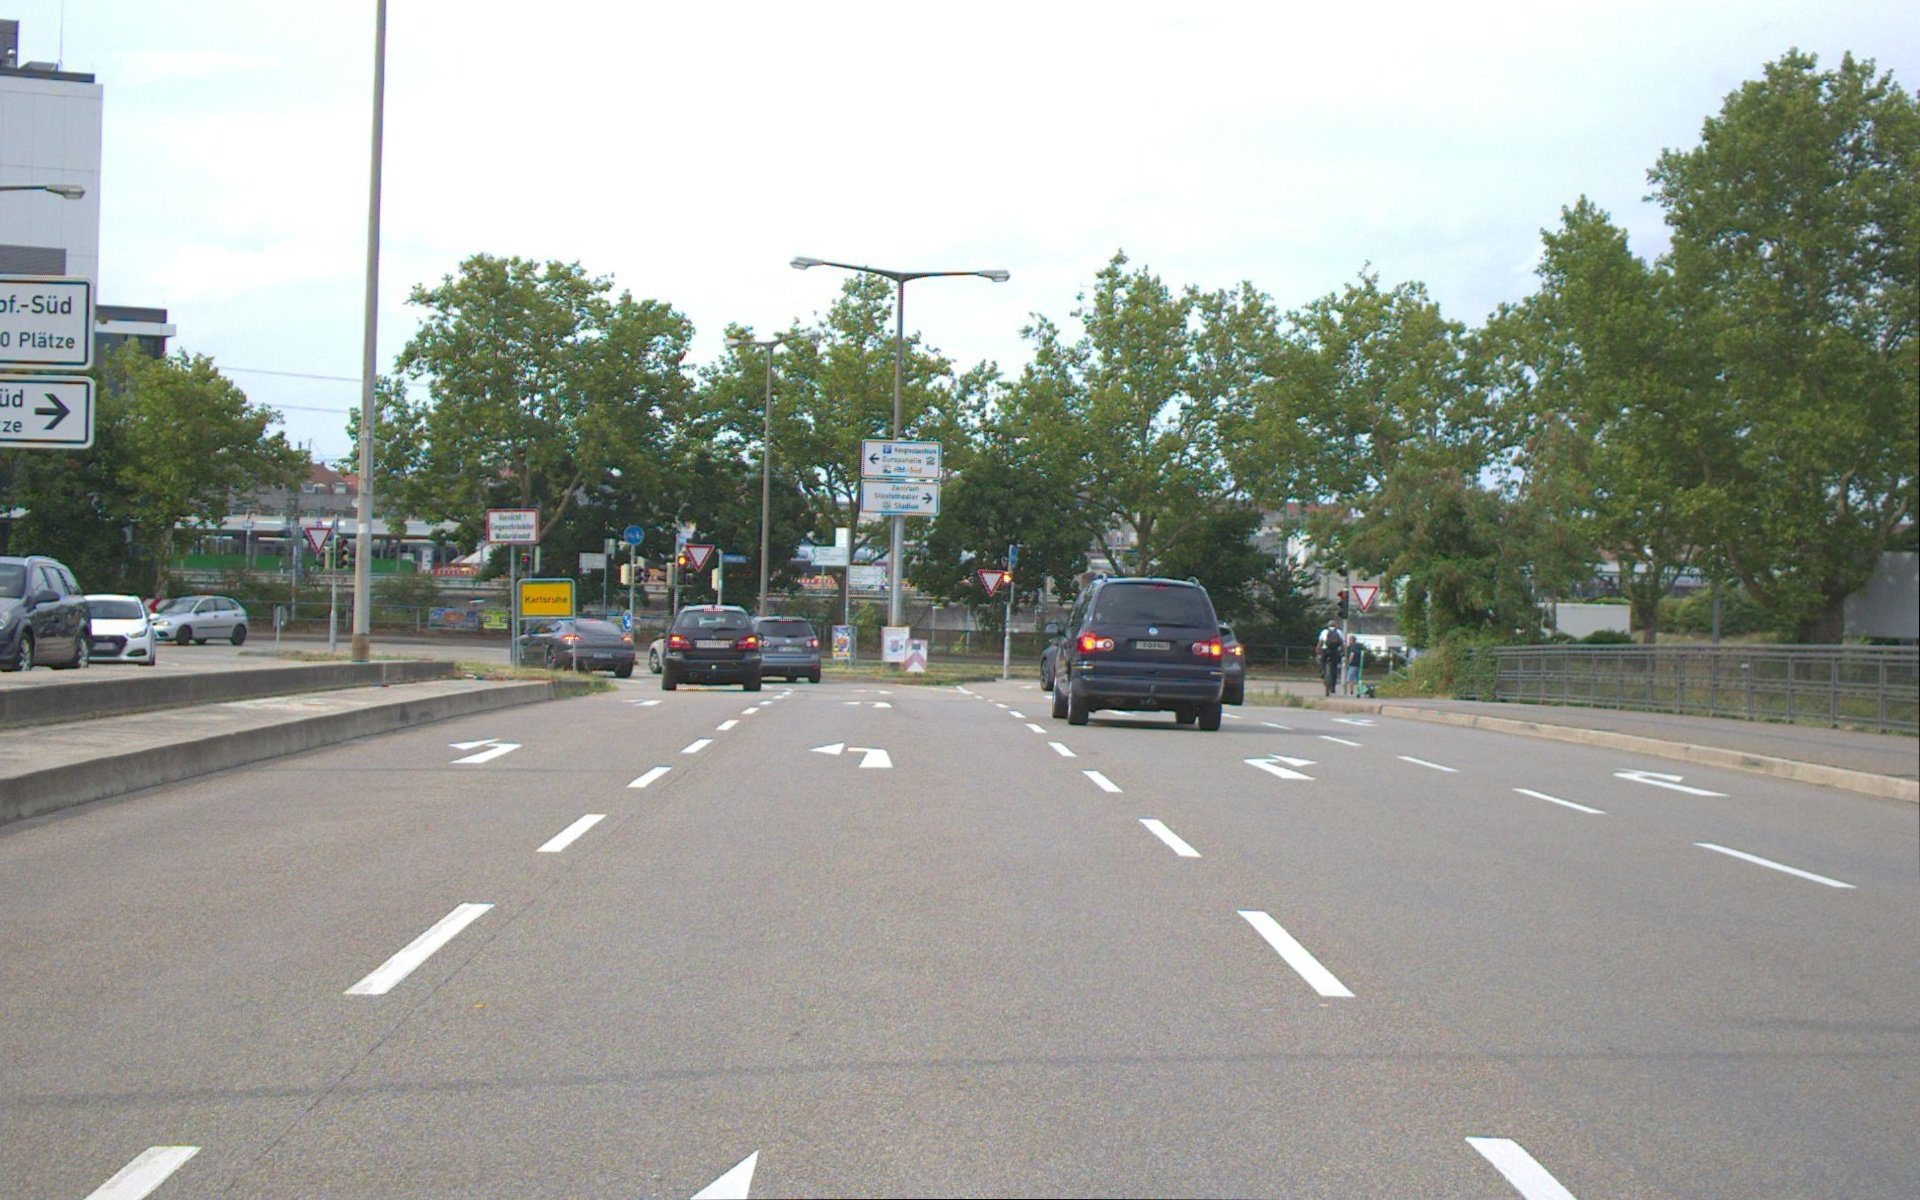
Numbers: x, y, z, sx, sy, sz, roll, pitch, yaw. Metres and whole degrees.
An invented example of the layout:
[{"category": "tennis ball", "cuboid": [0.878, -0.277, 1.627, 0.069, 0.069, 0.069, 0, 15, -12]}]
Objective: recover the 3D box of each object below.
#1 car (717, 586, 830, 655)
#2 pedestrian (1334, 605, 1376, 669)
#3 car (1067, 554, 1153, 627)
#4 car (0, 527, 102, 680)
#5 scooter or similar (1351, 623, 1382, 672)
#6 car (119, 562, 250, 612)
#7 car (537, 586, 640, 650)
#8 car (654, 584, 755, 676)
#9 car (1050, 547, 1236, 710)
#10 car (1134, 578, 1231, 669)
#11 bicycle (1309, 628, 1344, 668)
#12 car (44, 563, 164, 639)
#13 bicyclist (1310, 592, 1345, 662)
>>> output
[{"category": "car", "cuboid": [-4.369, 0.470, 79.830, 1.740, 1.541, 4.083, 1, 0, -16]}, {"category": "pedestrian", "cuboid": [10.960, 1.023, 95.381, 1.047, 1.704, 0.853, 2, 0, 10]}, {"category": "car", "cuboid": [3.557, -0.213, 81.974, 1.690, 1.580, 4.156, 3, -1, -1]}, {"category": "car", "cuboid": [-11.230, -0.009, 38.994, 1.887, 1.634, 4.585, 2, 0, -1]}, {"category": "scooter or similar", "cuboid": [9.812, 1.149, 82.950, 0.396, 1.179, 1.281, 1, -1, -8]}, {"category": "car", "cuboid": [-22.810, -0.356, 101.239, 1.618, 1.405, 3.854, 0, -1, 28]}, {"category": "car", "cuboid": [-8.905, 0.418, 82.125, 1.818, 1.409, 4.778, 2, 0, -14]}, {"category": "car", "cuboid": [-4.740, 0.531, 63.838, 1.757, 1.570, 4.037, 2, 1, -4]}, {"category": "car", "cuboid": [2.093, 0.344, 40.432, 1.750, 1.719, 4.138, 3, -1, -2]}, {"category": "car", "cuboid": [4.370, 0.486, 67.727, 1.750, 1.637, 4.137, 3, -1, 3]}, {"category": "bicycle", "cuboid": [9.020, 1.176, 84.485, 0.809, 0.949, 2.235, 1, 0, 7]}, {"category": "car", "cuboid": [-16.513, -0.009, 66.180, 1.918, 1.410, 4.883, 0, 1, -18]}, {"category": "bicyclist", "cuboid": [9.035, 0.664, 84.488, 0.811, 1.690, 1.115, 1, 0, 7]}]
